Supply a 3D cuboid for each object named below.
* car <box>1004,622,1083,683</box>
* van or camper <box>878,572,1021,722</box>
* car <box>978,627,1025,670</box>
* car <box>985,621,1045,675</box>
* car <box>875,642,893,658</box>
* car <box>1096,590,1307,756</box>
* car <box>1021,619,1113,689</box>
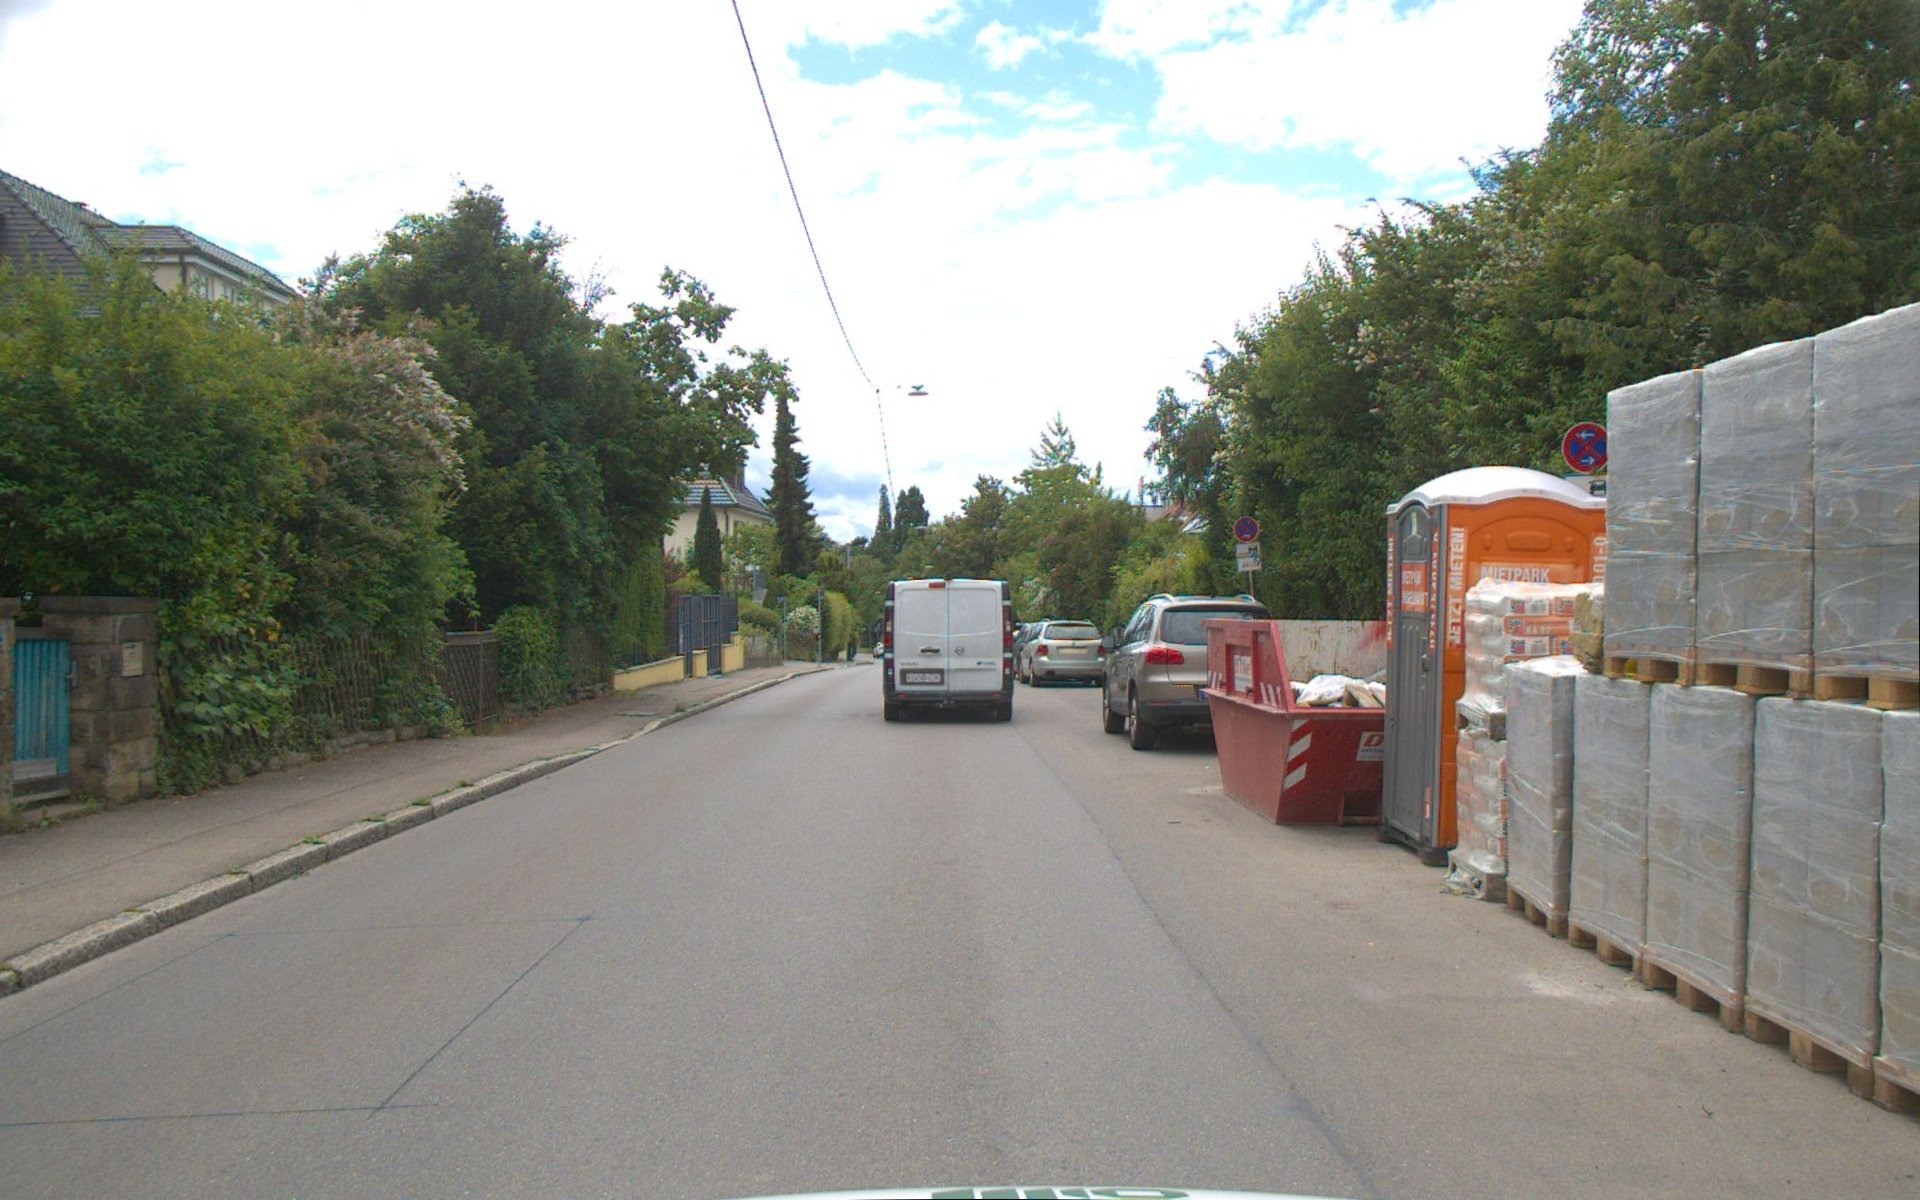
[{"bbox_3d":[2.128,1.337,43.339,1.709,1.472,4.257,-1,0,-2],"label":"car"},{"bbox_3d":[-0.202,0.676,24.622,1.900,1.988,4.763,1,-1,-2],"label":"van or camper"},{"bbox_3d":[1.683,1.963,68.472,1.709,1.658,4.257,-1,0,-2],"label":"car"},{"bbox_3d":[1.783,1.565,54.691,1.709,1.658,4.257,-1,0,-2],"label":"car"},{"bbox_3d":[-7.789,5.152,170.102,1.709,1.552,4.010,-1,0,-2],"label":"car"},{"bbox_3d":[2.695,0.776,19.361,1.709,1.704,4.183,-1,0,-2],"label":"car"},{"bbox_3d":[2.398,1.192,37.965,1.709,1.472,4.257,-1,0,-2],"label":"car"}]
